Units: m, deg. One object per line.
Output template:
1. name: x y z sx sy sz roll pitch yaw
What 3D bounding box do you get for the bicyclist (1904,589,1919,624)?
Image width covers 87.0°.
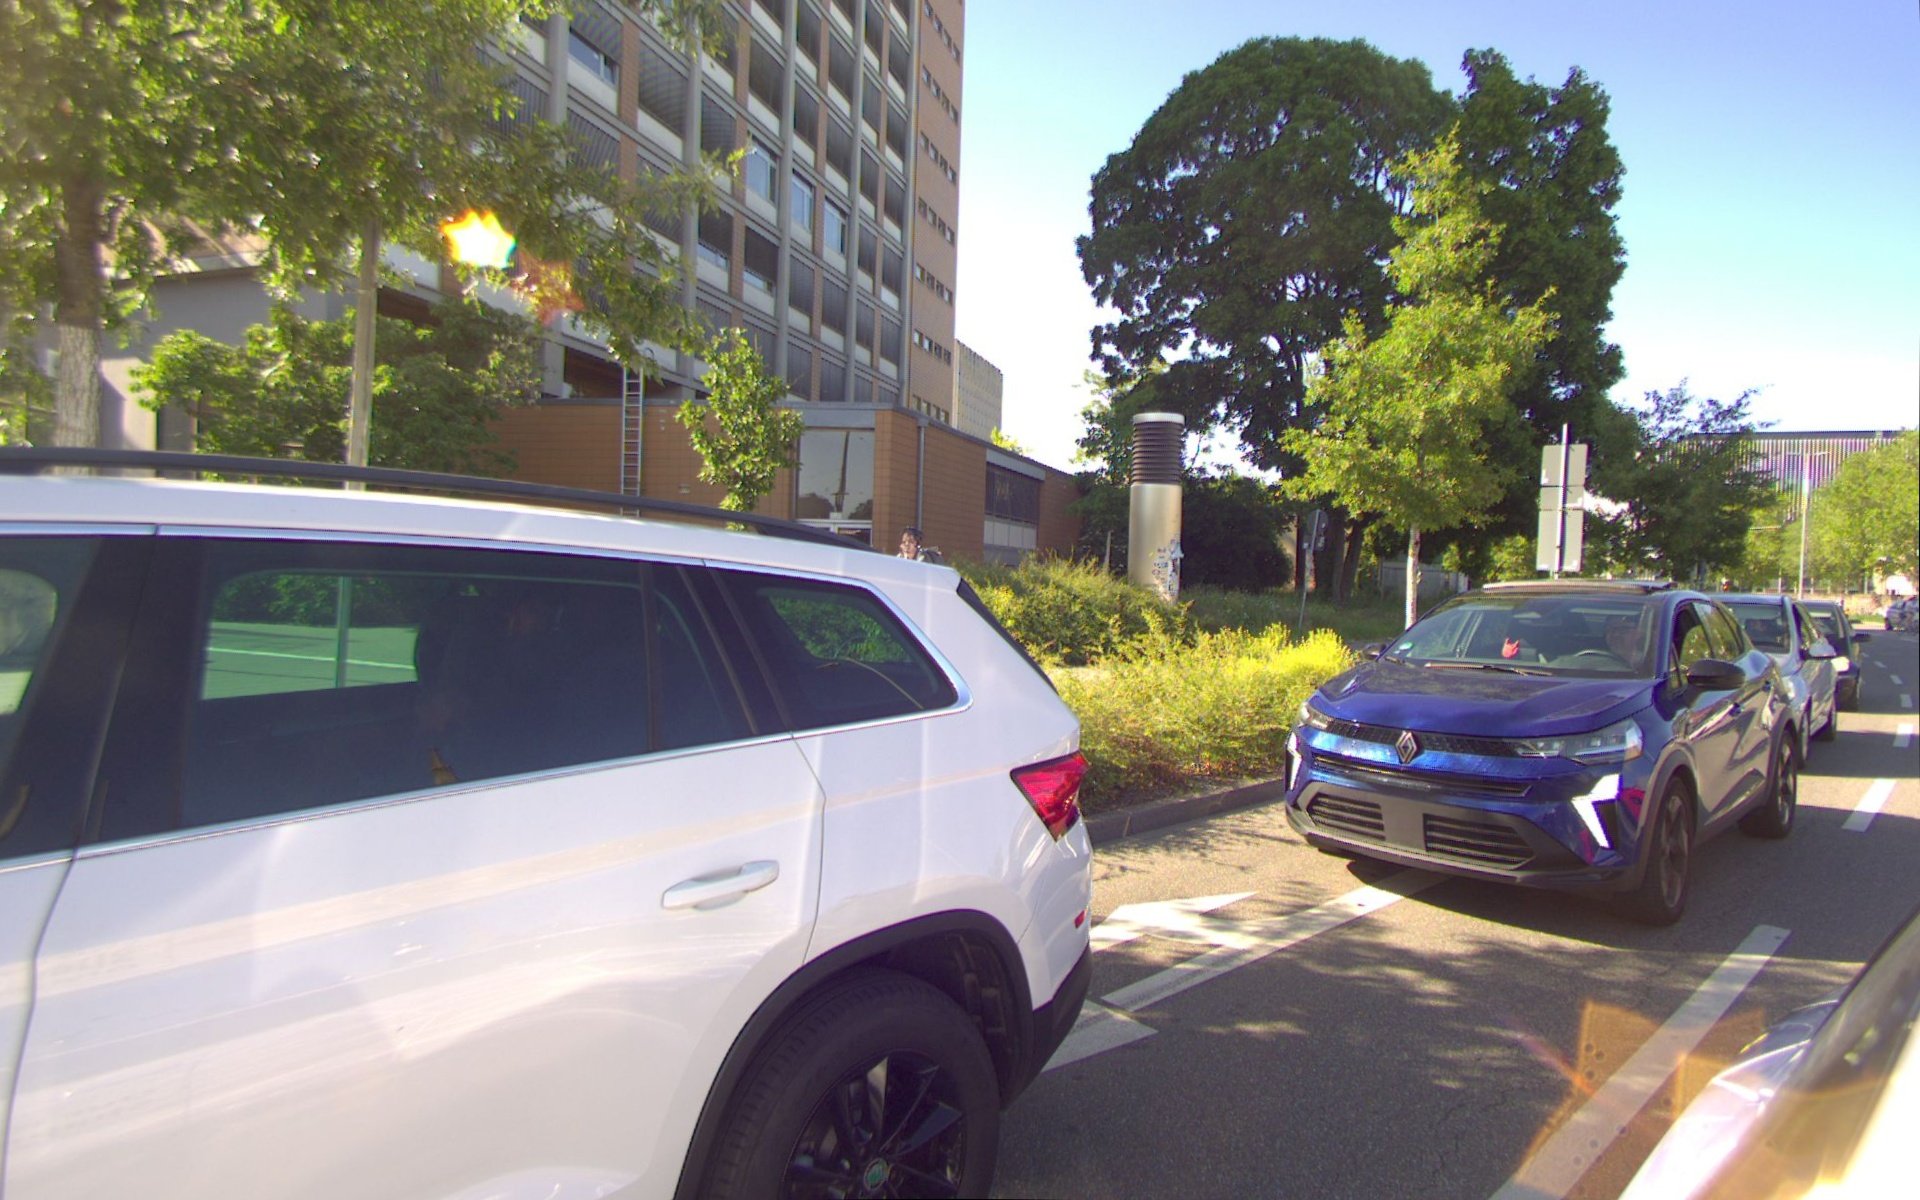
1. bicyclist: 43.382 0.305 45.728 0.684 1.578 0.814 0 0 8

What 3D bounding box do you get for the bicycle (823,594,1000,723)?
1. bicycle: -0.492 0.581 10.850 1.802 1.232 0.691 0 3 -41

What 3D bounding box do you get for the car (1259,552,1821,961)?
1. car: 3.632 0.608 6.000 4.013 1.626 1.703 0 1 -42

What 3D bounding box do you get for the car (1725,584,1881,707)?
1. car: 13.105 0.613 15.671 1.646 1.631 3.435 3 2 43

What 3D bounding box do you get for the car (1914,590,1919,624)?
1. car: 48.983 0.353 50.003 1.507 1.700 3.357 0 0 21

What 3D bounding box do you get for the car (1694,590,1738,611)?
1. car: 57.444 0.033 76.937 1.862 1.500 3.967 1 1 24

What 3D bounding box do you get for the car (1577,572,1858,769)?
1. car: 8.083 0.587 10.659 3.977 1.645 1.782 0 2 -45

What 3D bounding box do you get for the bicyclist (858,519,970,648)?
1. bicyclist: -0.489 -0.182 10.798 0.891 1.294 0.722 1 3 -41

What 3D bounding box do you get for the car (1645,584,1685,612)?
1. car: 50.797 -0.169 73.005 1.811 1.876 3.717 2 1 27

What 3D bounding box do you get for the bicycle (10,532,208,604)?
1. bicycle: -17.550 -0.646 21.012 0.790 1.394 3.111 2 1 26

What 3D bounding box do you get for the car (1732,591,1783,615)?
1. car: 49.601 0.174 63.008 1.735 1.396 3.543 1 1 25

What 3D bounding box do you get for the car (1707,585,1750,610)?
1. car: 64.228 -0.235 84.620 1.767 2.039 4.201 1 1 22

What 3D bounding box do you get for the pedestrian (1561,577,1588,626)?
1. pedestrian: 20.603 0.050 33.943 0.688 1.624 0.653 2 1 35

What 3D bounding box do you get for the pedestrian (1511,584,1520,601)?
1. pedestrian: 63.940 -0.866 116.469 0.812 1.941 0.766 0 0 23

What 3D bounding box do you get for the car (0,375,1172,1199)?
1. car: -1.630 0.566 1.659 4.223 1.662 1.697 0 2 -42

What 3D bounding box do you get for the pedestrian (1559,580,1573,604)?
1. pedestrian: 48.773 -0.627 81.422 0.812 1.941 0.767 0 0 21

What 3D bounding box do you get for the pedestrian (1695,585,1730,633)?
1. pedestrian: 26.174 0.319 35.210 0.679 1.624 0.662 1 1 -3

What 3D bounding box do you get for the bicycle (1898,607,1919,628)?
1. bicycle: 43.399 0.791 45.765 0.580 0.900 1.651 0 0 8

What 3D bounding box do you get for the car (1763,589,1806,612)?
1. car: 60.235 0.046 73.940 1.578 1.625 3.048 2 1 23

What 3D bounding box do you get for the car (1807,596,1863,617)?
1. car: 54.934 0.397 63.616 1.569 1.219 3.966 2 2 25

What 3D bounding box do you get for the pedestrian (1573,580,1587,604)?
1. pedestrian: 49.463 -0.621 80.742 0.812 1.941 0.767 0 0 21
